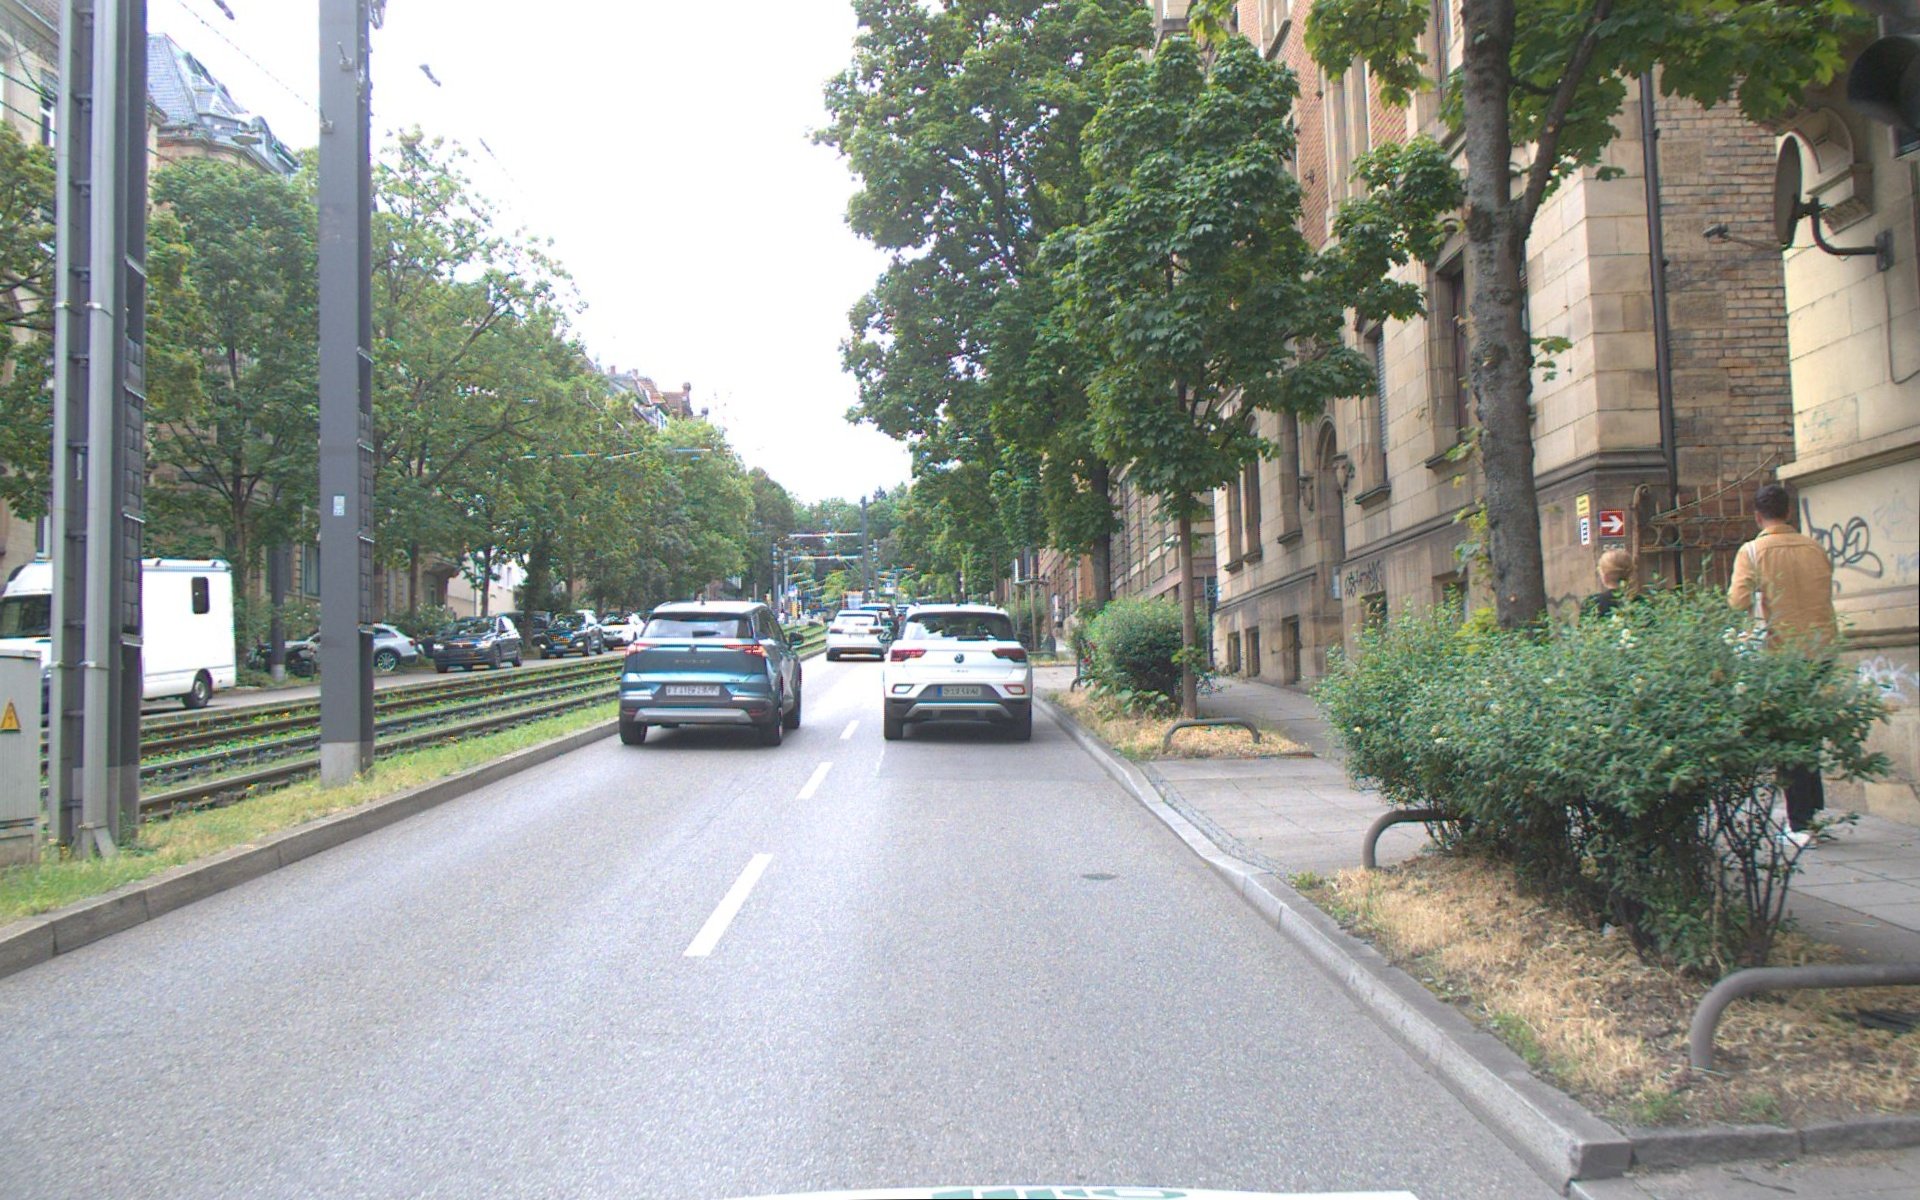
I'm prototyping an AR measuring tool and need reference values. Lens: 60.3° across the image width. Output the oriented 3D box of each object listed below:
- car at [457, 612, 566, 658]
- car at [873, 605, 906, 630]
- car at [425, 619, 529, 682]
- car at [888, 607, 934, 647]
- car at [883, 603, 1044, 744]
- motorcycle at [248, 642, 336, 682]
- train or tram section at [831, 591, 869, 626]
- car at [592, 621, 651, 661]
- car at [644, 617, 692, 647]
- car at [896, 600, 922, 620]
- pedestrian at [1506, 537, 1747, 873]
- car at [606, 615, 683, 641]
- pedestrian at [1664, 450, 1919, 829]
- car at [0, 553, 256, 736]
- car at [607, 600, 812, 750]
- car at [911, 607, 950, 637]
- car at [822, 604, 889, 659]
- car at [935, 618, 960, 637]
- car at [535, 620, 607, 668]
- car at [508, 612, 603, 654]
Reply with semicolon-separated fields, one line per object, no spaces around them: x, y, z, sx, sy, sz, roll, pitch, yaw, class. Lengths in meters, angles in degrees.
-19.159;1.495;70.656;4.136;1.798;1.852;-2;-1;-31;car
-4.513;1.103;105.835;2.027;1.574;4.190;0;-1;-4;car
-14.577;1.491;50.180;1.842;1.679;4.469;-3;0;-1;car
-2.004;1.110;68.205;1.798;1.574;4.192;0;-1;-1;car
-0.022;0.847;20.600;1.798;1.574;4.191;0;-1;-2;car
-18.447;1.700;45.702;2.181;1.077;0.617;0;-2;-36;motorcycle
-11.354;0.897;171.626;2.934;3.407;13.437;-1;-1;0;train or tram section
-15.313;1.832;75.063;1.744;1.645;4.345;-3;0;-1;car
-15.519;1.702;88.081;1.690;1.434;4.596;-3;0;-1;car
-3.989;0.812;129.586;2.026;1.574;4.191;0;-1;-2;car
3.448;0.511;8.661;0.672;1.601;1.216;-3;0;-1;pedestrian
-20.381;1.809;107.004;4.554;1.646;1.912;1;-1;-35;car
4.406;0.216;8.835;0.672;1.861;1.121;-3;-3;-1;pedestrian
-14.901;0.741;28.599;2.343;2.746;6.519;-3;0;2;car
-2.813;0.809;19.433;1.798;1.574;4.192;0;-1;-1;car
-1.619;1.183;89.567;2.026;1.574;4.191;0;-1;-2;car
-3.080;0.934;49.495;1.798;1.574;4.192;0;-1;-1;car
-1.056;2.287;138.361;2.026;1.574;4.192;0;-1;-1;car
-14.974;1.678;63.840;1.744;1.685;4.242;-3;0;-1;car
-19.385;1.580;79.282;4.130;1.868;1.854;-2;-1;-28;car
